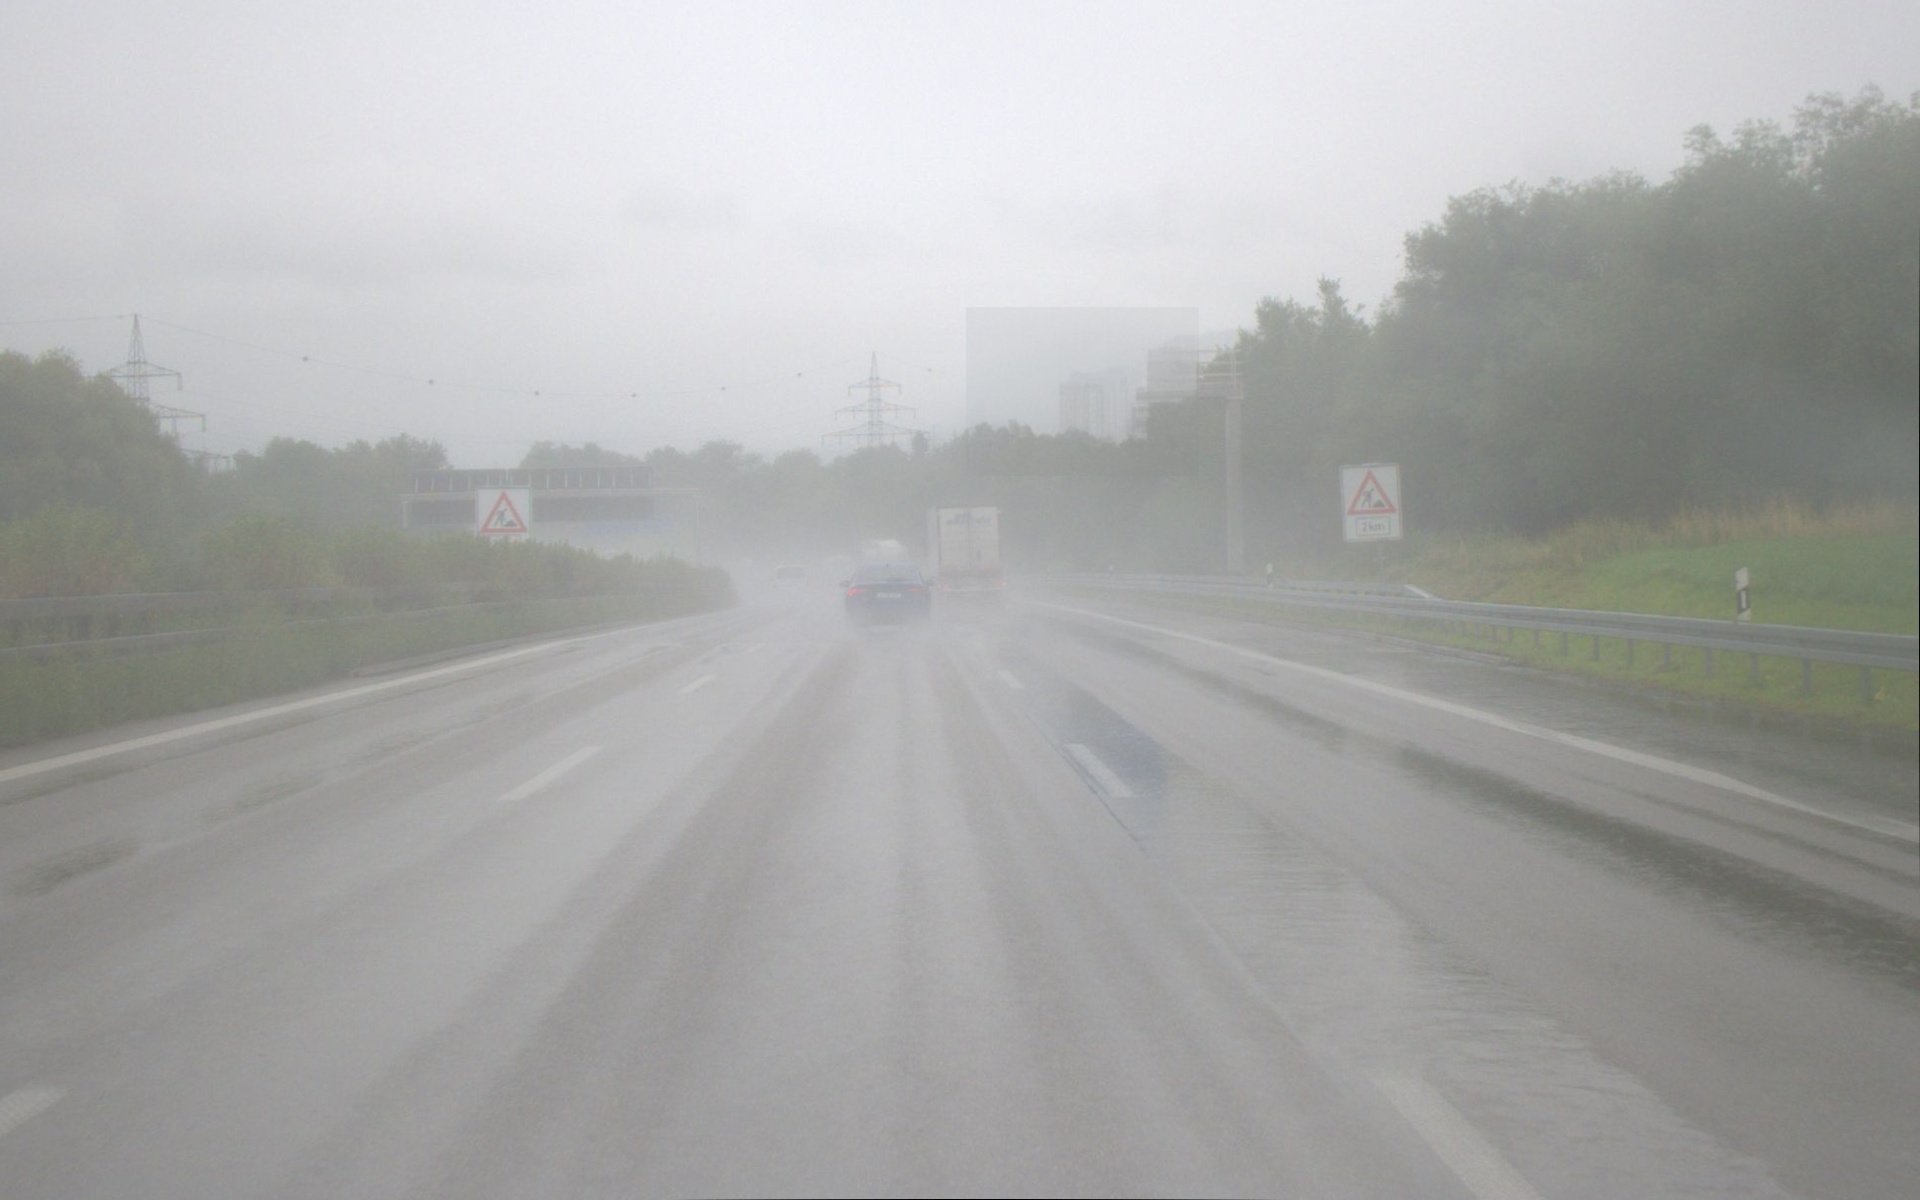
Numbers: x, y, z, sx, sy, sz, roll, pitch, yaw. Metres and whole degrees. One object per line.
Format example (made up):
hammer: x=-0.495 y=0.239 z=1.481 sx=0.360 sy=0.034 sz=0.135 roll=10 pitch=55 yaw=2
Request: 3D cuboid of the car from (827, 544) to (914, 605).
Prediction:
car: x=-1.862 y=-0.542 z=70.932 sx=1.748 sy=1.208 sz=4.000 roll=0 pitch=1 yaw=-2

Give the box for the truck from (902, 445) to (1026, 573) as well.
truck: x=0.029 y=-3.869 z=148.518 sx=4.256 sy=4.955 sz=17.343 roll=-3 pitch=1 yaw=-3
